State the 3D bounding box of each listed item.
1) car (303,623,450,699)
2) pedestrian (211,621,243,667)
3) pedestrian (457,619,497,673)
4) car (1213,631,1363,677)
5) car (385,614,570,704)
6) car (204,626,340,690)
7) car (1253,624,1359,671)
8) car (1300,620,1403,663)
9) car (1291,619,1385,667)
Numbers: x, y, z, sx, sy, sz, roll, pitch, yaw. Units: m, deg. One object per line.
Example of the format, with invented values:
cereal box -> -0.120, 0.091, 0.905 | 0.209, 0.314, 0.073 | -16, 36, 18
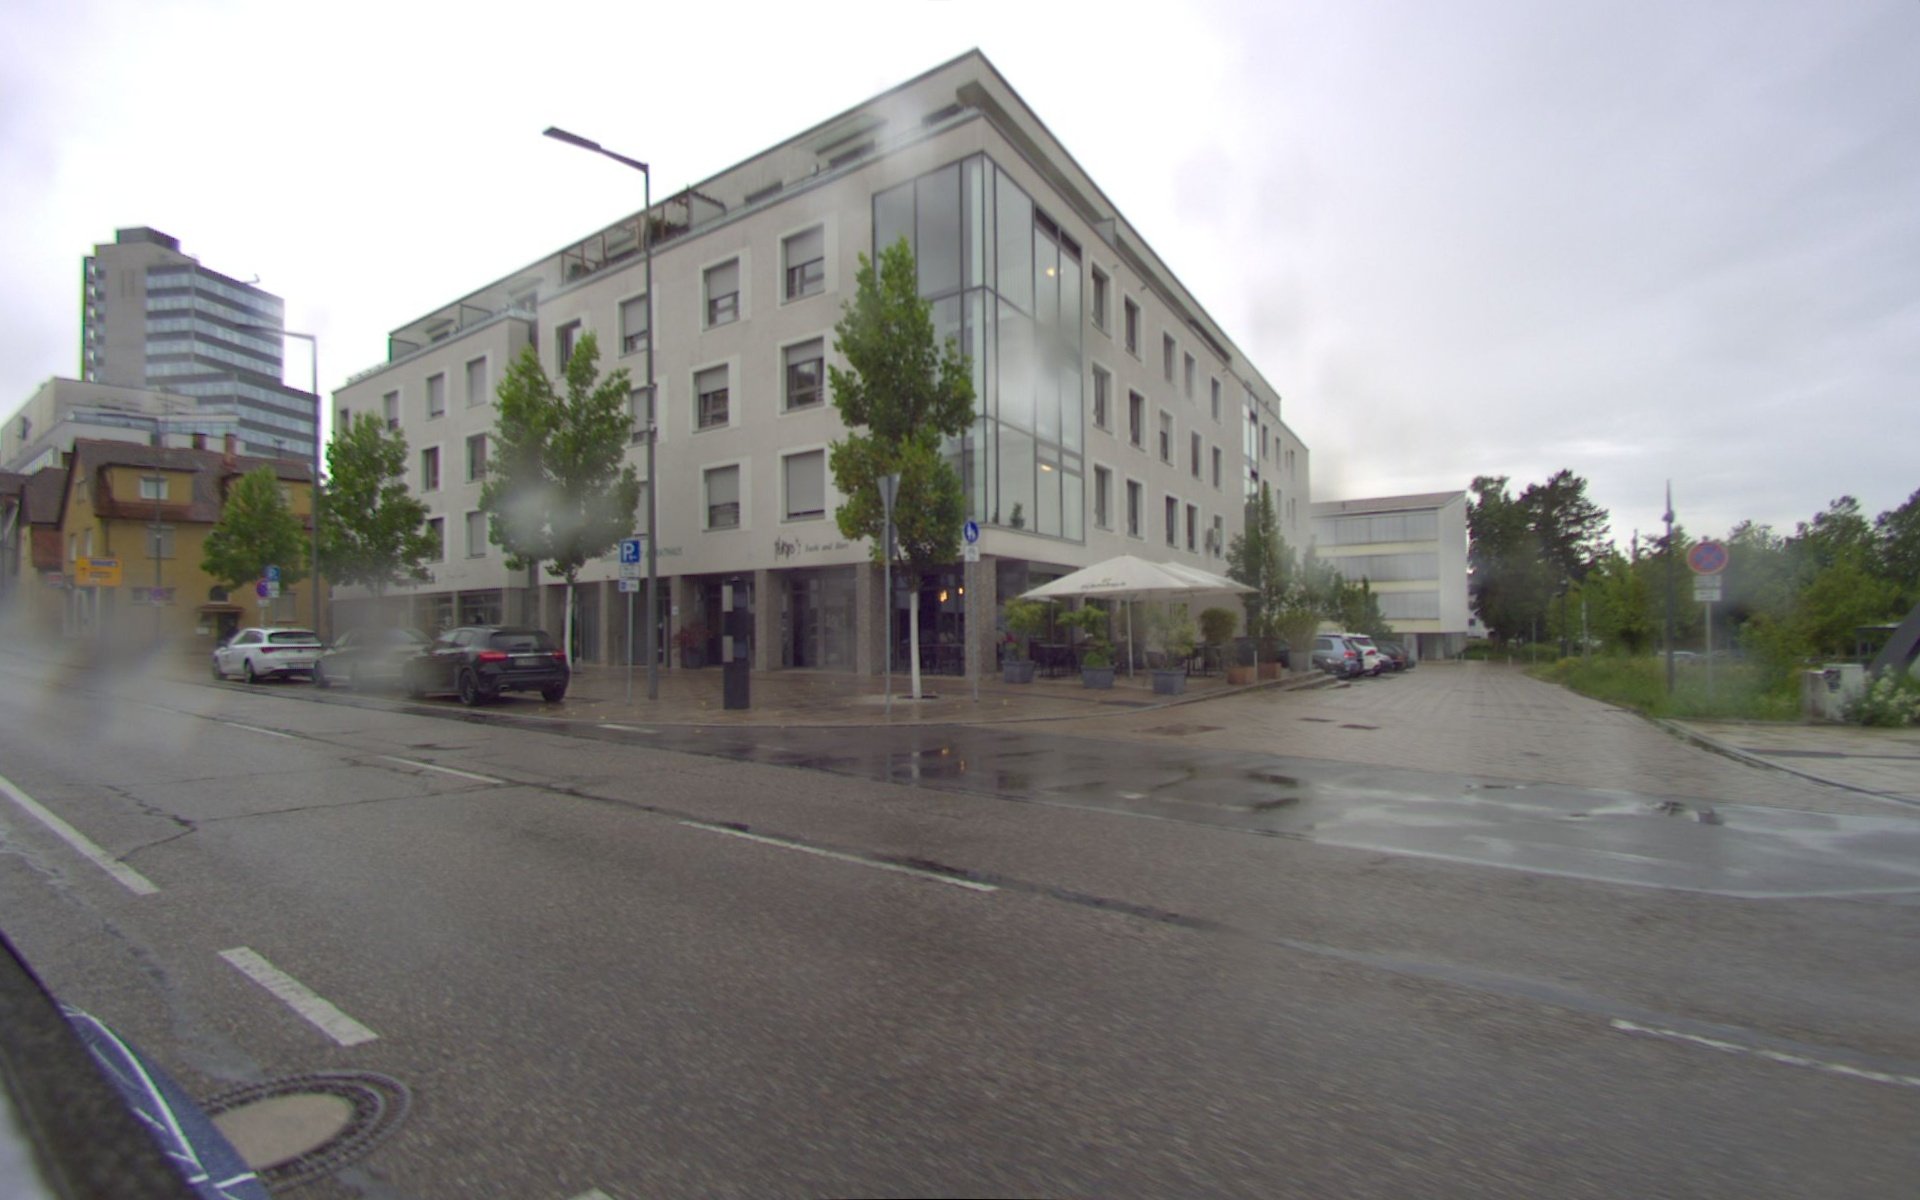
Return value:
car -> -13.689, 1.344, 23.636 | 4.577, 1.521, 1.673 | 0, -1, 43
pedestrian -> -29.159, 1.751, 40.275 | 0.881, 1.801, 0.793 | 0, -1, 39
pedestrian -> -16.136, 1.530, 33.810 | 1.002, 1.751, 0.800 | 0, -1, 39
car -> 10.590, 1.700, 32.690 | 4.444, 1.305, 1.780 | 1, -1, 24
car -> -9.538, 1.102, 19.850 | 4.467, 1.594, 1.571 | -2, -3, 40
car -> -18.537, 1.499, 27.207 | 4.473, 1.474, 1.778 | 0, -1, 38
car -> 12.065, 1.622, 35.269 | 3.412, 1.470, 1.490 | 1, -1, 23
car -> 16.664, 1.741, 43.119 | 3.974, 1.702, 1.985 | 1, -1, 23
car -> 15.143, 1.683, 40.565 | 3.438, 1.790, 1.479 | 1, -1, 24
